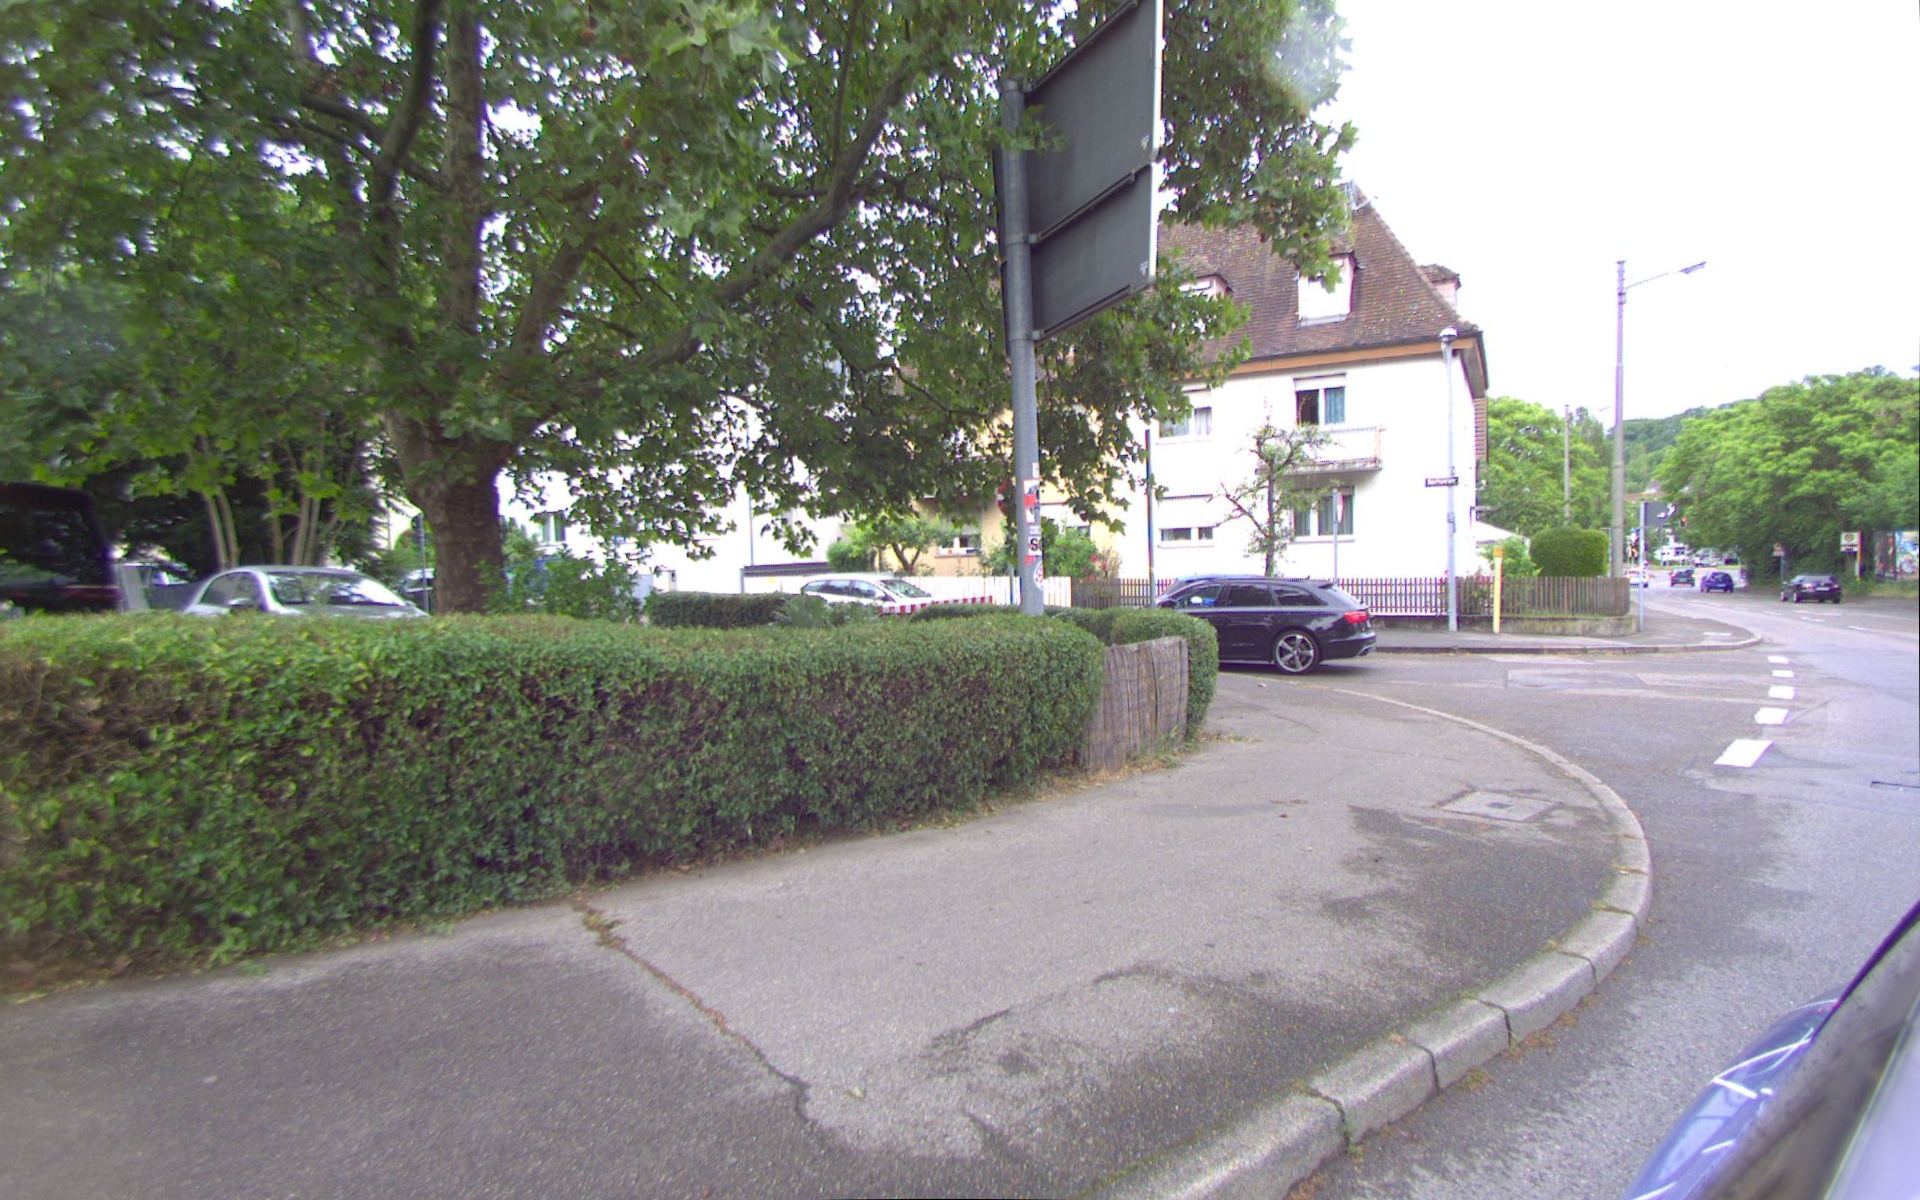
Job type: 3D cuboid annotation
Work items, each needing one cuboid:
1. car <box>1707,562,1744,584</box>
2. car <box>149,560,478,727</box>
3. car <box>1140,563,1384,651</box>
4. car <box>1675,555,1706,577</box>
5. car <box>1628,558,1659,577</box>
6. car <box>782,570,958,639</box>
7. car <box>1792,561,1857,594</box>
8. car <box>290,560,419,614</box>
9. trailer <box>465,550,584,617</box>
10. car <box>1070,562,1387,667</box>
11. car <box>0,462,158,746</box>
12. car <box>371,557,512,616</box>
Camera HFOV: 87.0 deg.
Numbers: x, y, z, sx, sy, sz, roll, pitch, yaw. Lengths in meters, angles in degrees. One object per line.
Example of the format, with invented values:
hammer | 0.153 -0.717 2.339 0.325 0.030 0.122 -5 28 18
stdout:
car | 55.109 -1.980 72.913 1.589 1.443 3.662 1 4 29
car | -7.455 0.365 11.573 3.974 1.599 1.800 1 2 35
car | 5.678 0.057 19.145 4.095 1.498 1.865 1 2 32
car | 67.807 -3.151 94.024 1.948 1.955 4.632 1 2 31
car | 60.865 -2.874 90.151 1.820 1.598 4.291 -1 2 29
car | -2.091 0.061 23.395 3.752 1.471 1.754 1 1 30
car | 43.257 -1.140 50.717 1.834 1.588 4.362 1 1 32
car | -22.085 -0.503 36.889 4.535 1.862 1.982 1 2 28
trailer | -13.934 -0.550 32.366 3.456 2.038 1.657 1 1 26
car | 4.362 0.152 16.541 4.768 1.498 1.870 1 2 25
car | -8.546 0.003 7.977 4.376 1.956 1.980 1 2 29
car | -17.516 -0.491 34.173 4.535 1.862 1.982 1 2 28
